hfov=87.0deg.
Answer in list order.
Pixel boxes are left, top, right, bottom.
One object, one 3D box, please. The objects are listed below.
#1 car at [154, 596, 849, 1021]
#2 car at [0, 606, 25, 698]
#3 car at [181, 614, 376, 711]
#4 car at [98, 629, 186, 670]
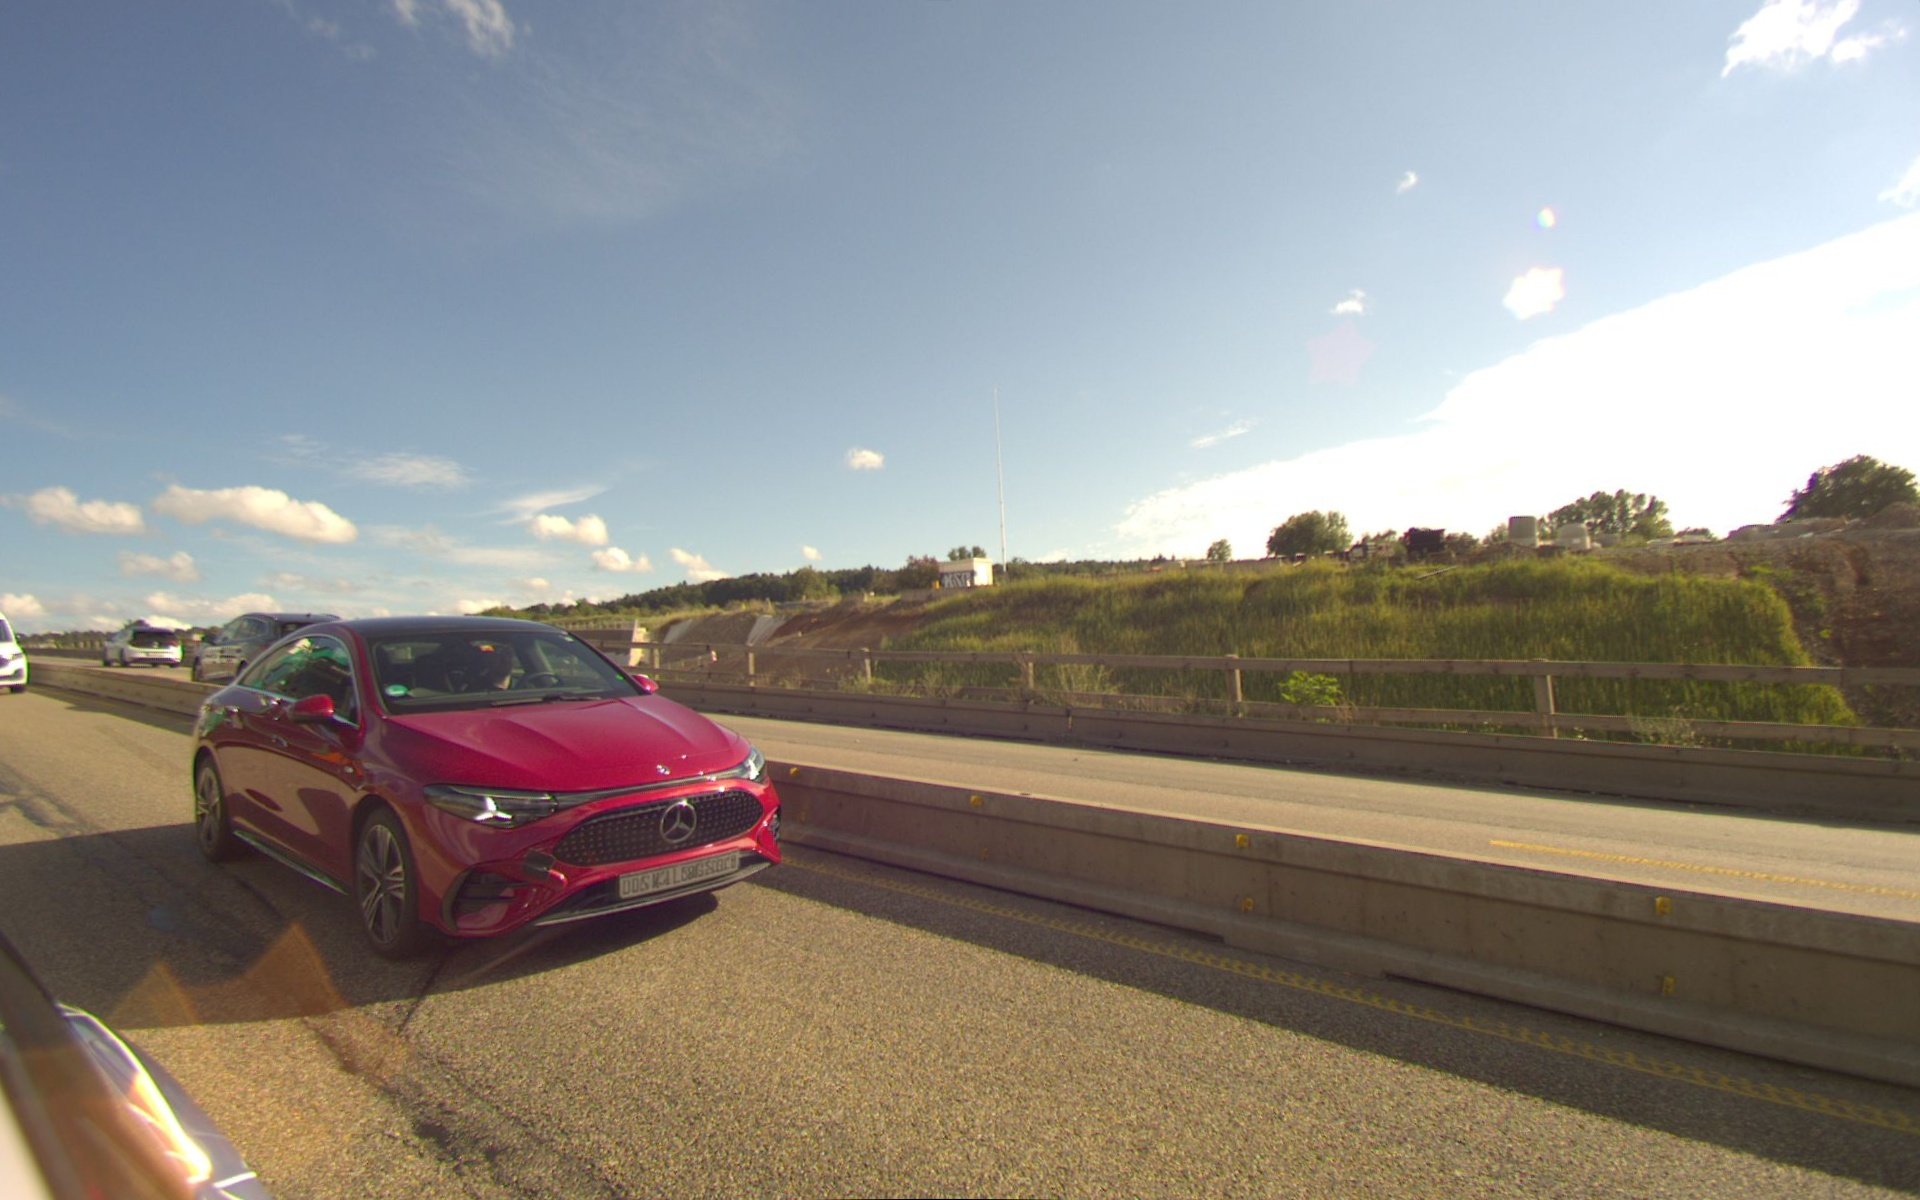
[{"bbox_3d":[-2.917,0.797,5.810,4.680,1.503,1.804,-2,-1,40],"label":"car"},{"bbox_3d":[-21.280,1.113,21.273,4.452,1.837,1.805,-2,-1,40],"label":"car"},{"bbox_3d":[-12.500,1.118,18.469,4.214,1.575,1.804,-2,-4,40],"label":"car"},{"bbox_3d":[-31.490,1.902,38.908,4.214,1.503,1.804,-2,-4,40],"label":"car"}]
